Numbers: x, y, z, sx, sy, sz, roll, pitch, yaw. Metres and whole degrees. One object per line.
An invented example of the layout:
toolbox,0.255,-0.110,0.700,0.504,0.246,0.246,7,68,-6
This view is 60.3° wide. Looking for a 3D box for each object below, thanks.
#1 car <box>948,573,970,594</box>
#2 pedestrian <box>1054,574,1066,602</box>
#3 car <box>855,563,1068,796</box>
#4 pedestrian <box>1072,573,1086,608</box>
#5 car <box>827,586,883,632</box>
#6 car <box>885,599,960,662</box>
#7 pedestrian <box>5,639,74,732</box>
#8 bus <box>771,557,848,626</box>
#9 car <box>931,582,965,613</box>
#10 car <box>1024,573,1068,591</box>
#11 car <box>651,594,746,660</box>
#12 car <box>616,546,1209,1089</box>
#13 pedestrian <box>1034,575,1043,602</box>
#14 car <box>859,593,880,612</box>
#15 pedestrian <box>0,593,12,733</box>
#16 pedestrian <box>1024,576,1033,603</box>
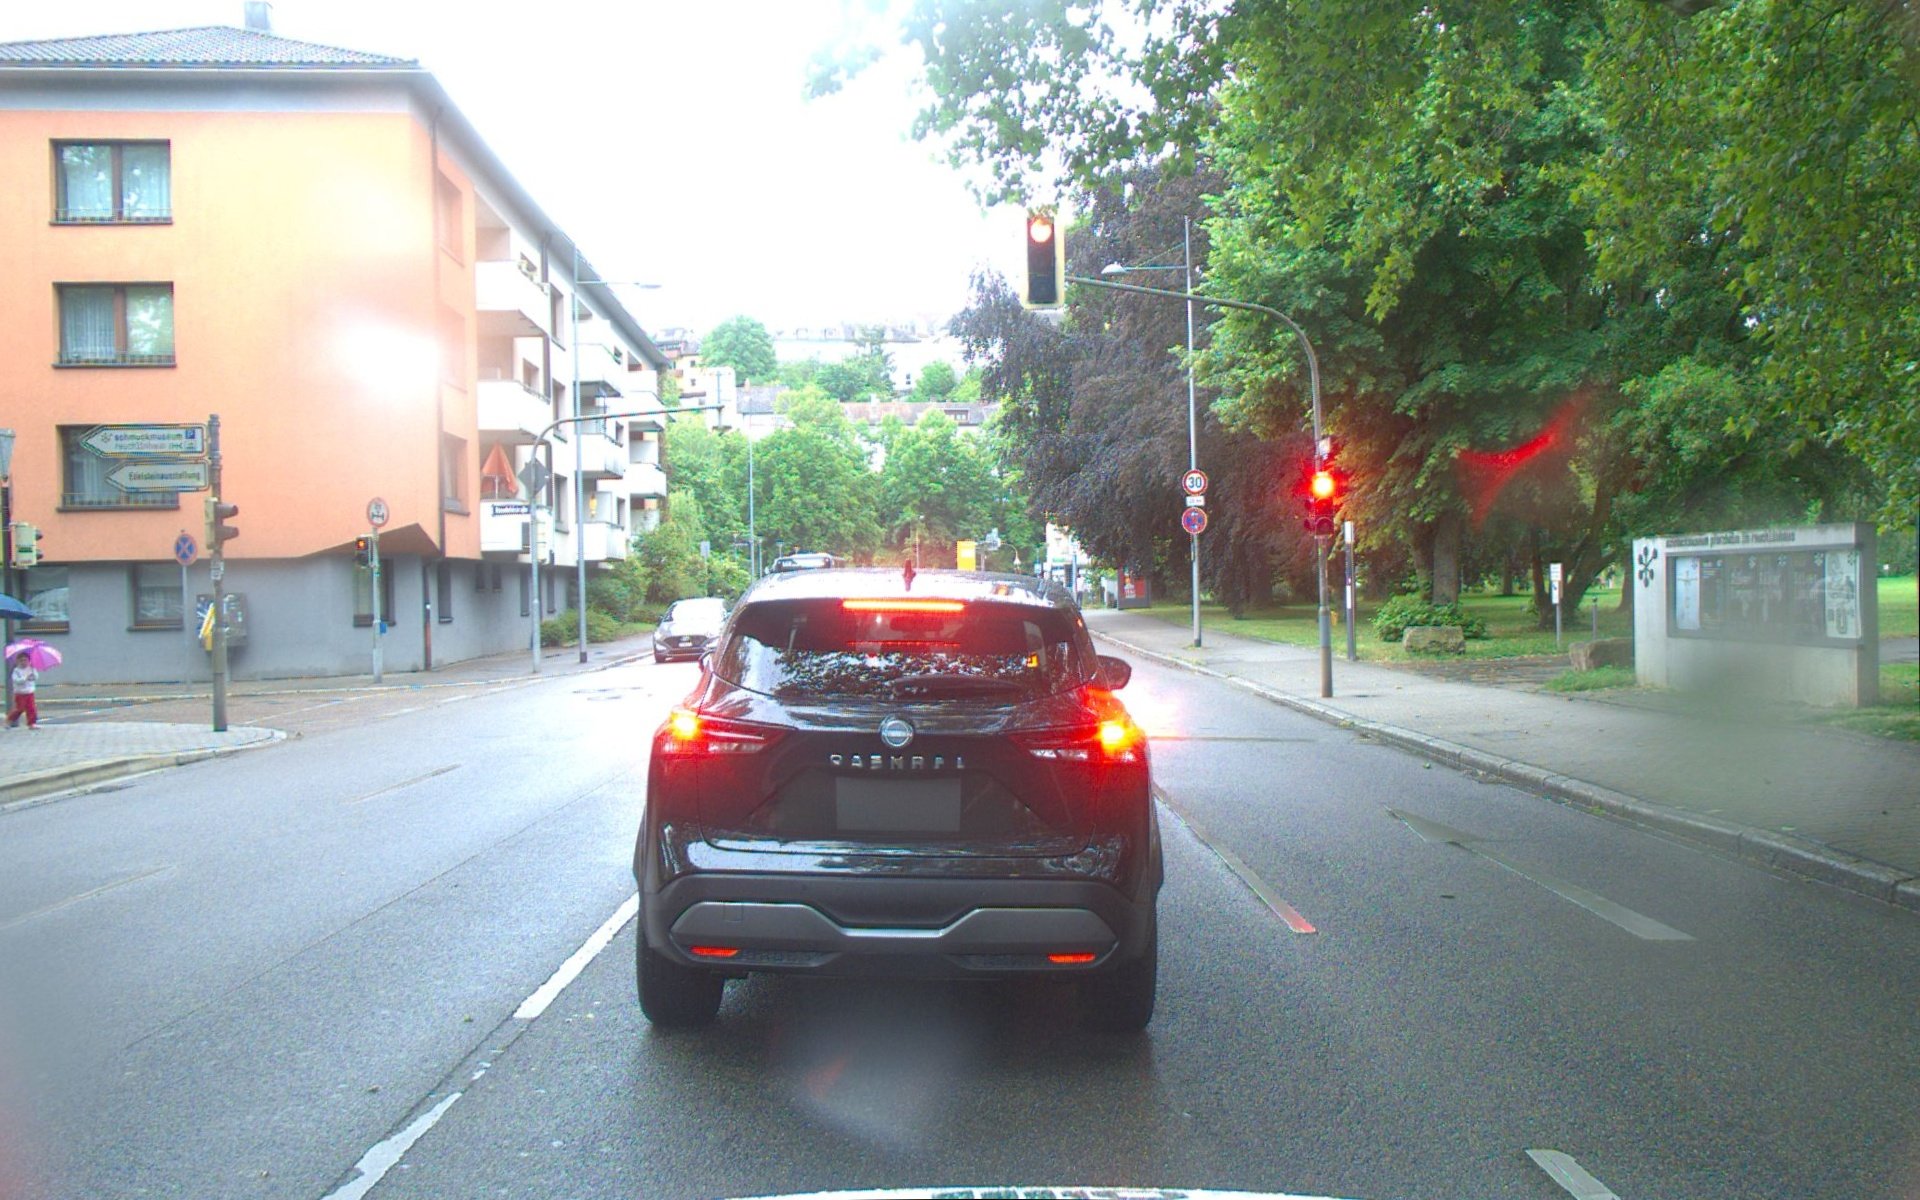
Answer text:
car,-0.084,-1.380,136.592,1.714,1.662,3.634,-2,1,0
pedestrian,6.400,-0.766,105.843,0.606,1.810,0.550,-2,0,-1
car,0.037,0.597,14.649,1.588,1.738,3.771,-2,0,1
pedestrian,6.275,-0.492,87.025,0.606,1.810,0.778,-2,0,-1
car,-3.456,0.274,54.804,1.591,1.439,3.454,-2,0,0
car,-0.958,0.721,41.051,1.772,1.442,4.029,0,0,-2
pedestrian,-12.406,1.138,22.281,0.680,1.195,0.815,1,0,-39
bus,-7.131,-0.388,79.885,2.710,3.026,11.779,-1,0,-1
car,-0.582,-0.152,82.250,1.591,1.439,3.454,-2,0,0
car,8.518,-1.773,163.997,3.916,1.713,1.995,-2,0,-11
car,-6.405,0.634,40.855,1.772,1.441,4.029,-3,1,-2
car,-0.167,0.669,7.004,1.769,1.618,3.999,1,0,-1
pedestrian,5.006,-0.737,104.932,0.504,1.684,0.550,1,-1,-1
car,-7.502,0.185,137.321,1.643,1.495,4.215,-3,1,-2
pedestrian,-12.852,0.790,21.238,0.985,1.772,1.192,1,0,-39
pedestrian,4.425,-0.683,106.202,0.533,1.680,0.490,1,-1,0
